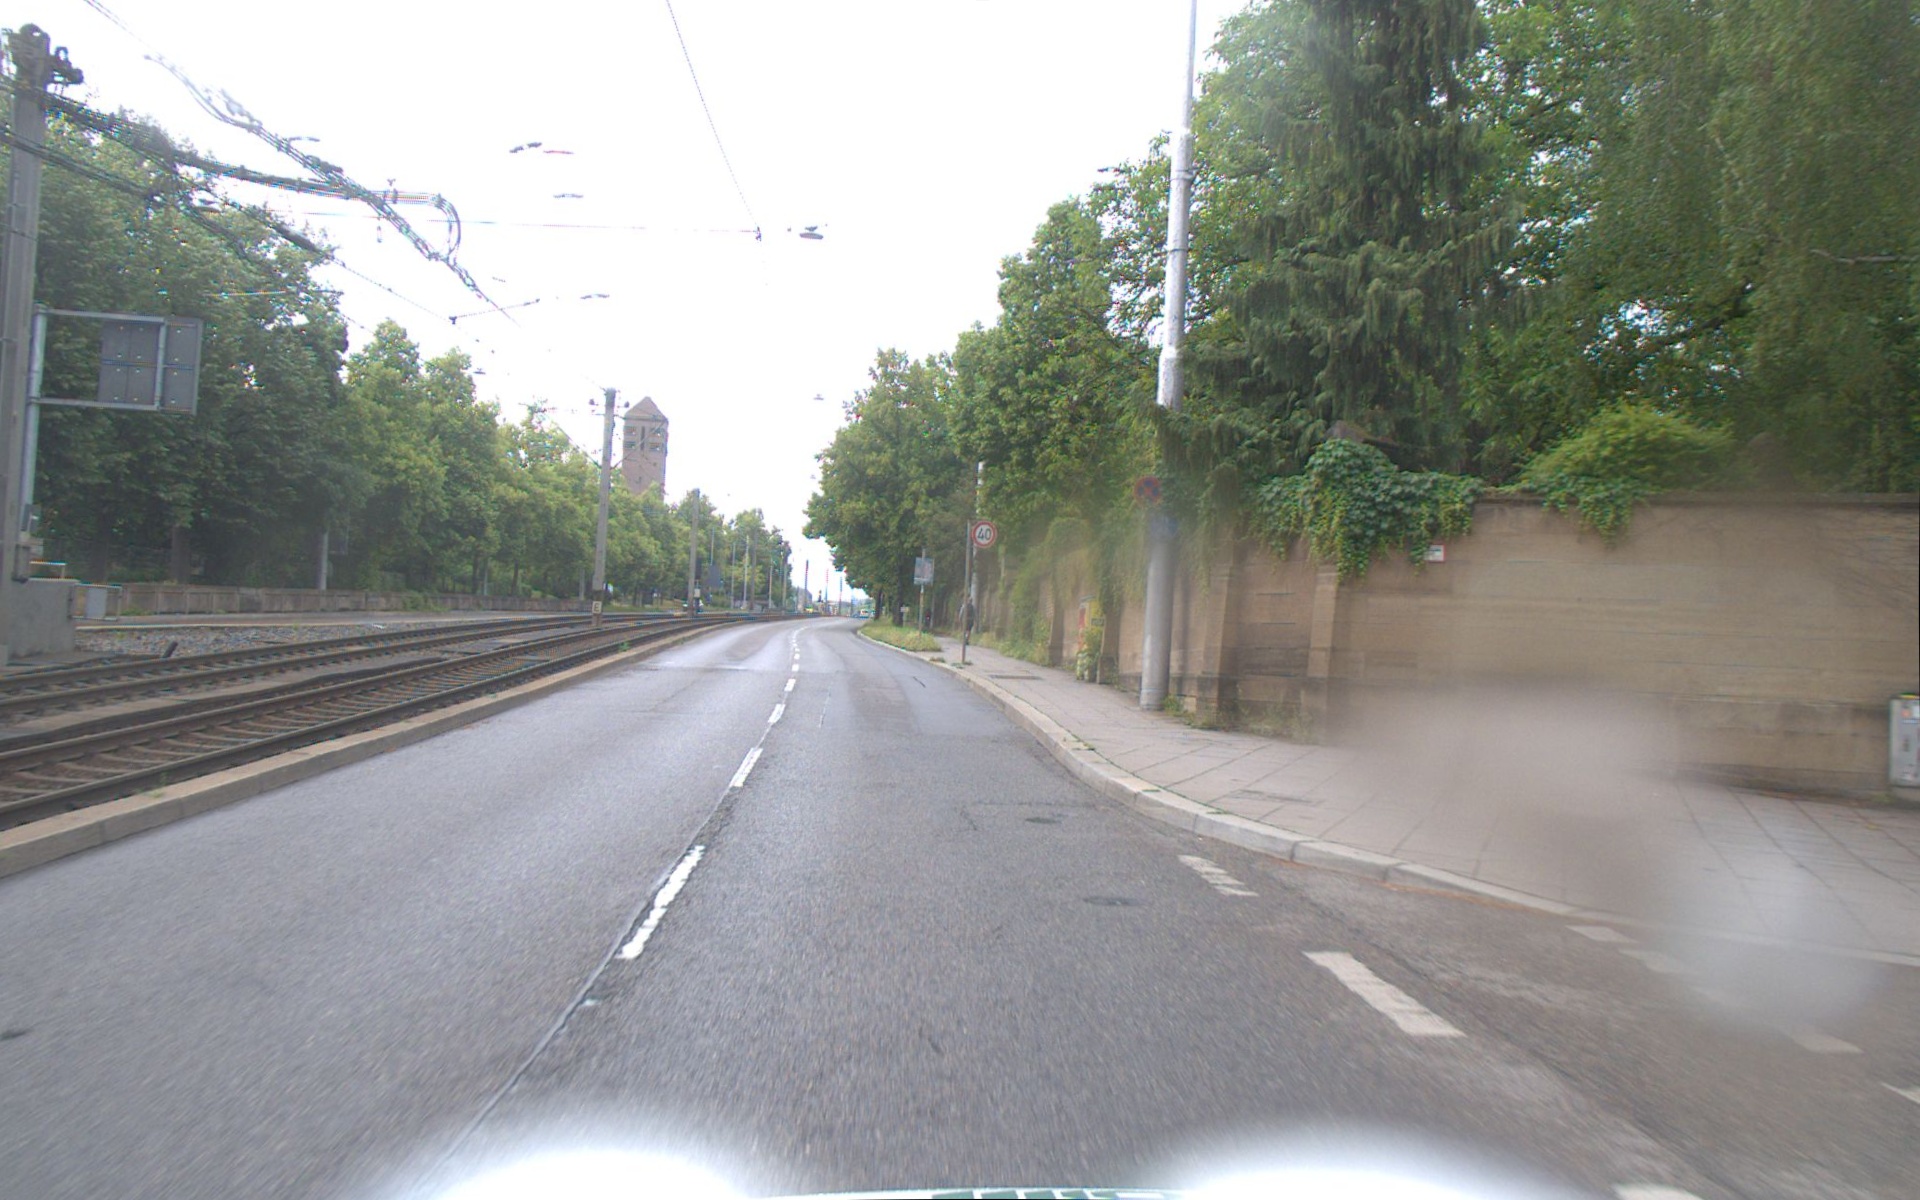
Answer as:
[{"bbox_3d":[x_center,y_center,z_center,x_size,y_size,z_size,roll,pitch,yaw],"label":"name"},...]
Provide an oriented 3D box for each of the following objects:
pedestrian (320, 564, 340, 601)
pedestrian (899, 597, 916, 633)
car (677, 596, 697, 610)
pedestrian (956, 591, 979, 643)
[{"bbox_3d":[-28.772,-0.789,75.548,0.635,1.690,0.650,1,0,-3],"label":"pedestrian"},{"bbox_3d":[-2.574,0.742,80.531,0.705,1.716,0.728,4,-1,-4],"label":"pedestrian"},{"bbox_3d":[-31.813,0.333,192.879,1.759,1.536,3.846,3,0,-4],"label":"car"},{"bbox_3d":[0.264,0.620,61.678,0.705,1.882,0.782,4,-1,-3],"label":"pedestrian"}]
